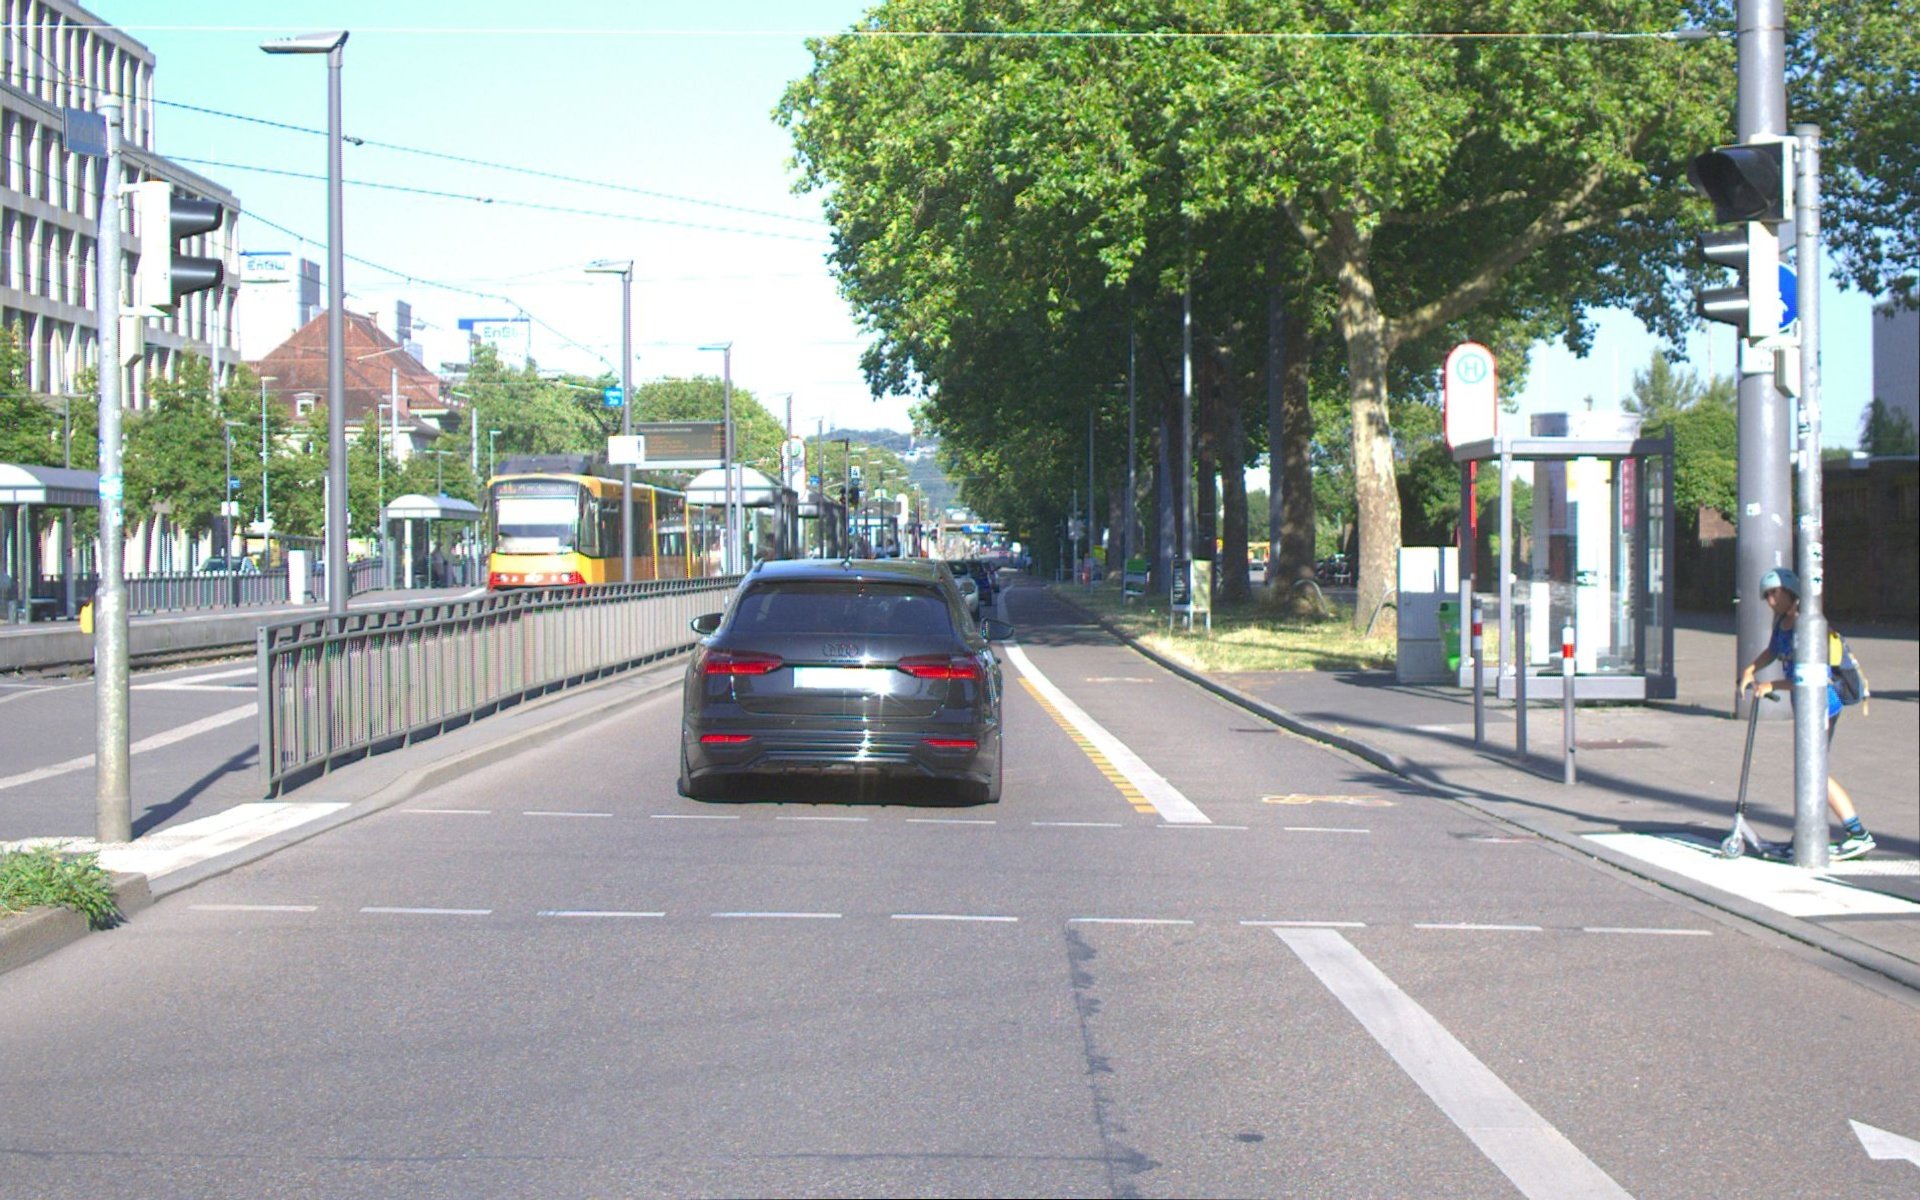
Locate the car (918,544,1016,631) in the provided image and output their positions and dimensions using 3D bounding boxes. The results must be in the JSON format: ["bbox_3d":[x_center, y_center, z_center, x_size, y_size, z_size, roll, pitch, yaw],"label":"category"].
[{"bbox_3d":[0.104,-0.264,65.478,1.762,1.614,4.000,0,1,-1],"label":"car"}]

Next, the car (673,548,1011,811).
[{"bbox_3d":[-0.698,0.417,20.823,1.878,1.452,3.357,0,1,-1],"label":"car"}]

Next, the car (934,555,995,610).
[{"bbox_3d":[0.123,-0.551,105.068,1.762,1.614,4.000,0,1,-1],"label":"car"}]

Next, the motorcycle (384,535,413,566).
[{"bbox_3d":[-18.911,-1.667,115.832,0.604,1.018,1.841,0,1,1],"label":"motorcycle"}]

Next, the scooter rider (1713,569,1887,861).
[{"bbox_3d":[4.069,0.546,16.688,0.701,1.392,0.600,0,1,1],"label":"scooter rider"}]

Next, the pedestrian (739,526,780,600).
[{"bbox_3d":[-4.132,-0.768,70.923,0.746,1.503,0.666,-1,1,3],"label":"pedestrian"}]

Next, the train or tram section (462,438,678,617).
[{"bbox_3d":[-8.927,-1.637,80.682,3.309,3.816,14.219,0,1,1],"label":"train or tram section"}]

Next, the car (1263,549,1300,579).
[{"bbox_3d":[16.400,-1.837,175.399,1.614,1.510,3.803,0,1,1],"label":"car"}]

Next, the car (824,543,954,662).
[{"bbox_3d":[-1.007,0.006,48.500,1.762,1.614,4.000,0,1,-1],"label":"car"}]

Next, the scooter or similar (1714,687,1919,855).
[{"bbox_3d":[4.243,0.837,16.886,1.021,0.808,0.265,0,1,1],"label":"scooter or similar"}]

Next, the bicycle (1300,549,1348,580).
[{"bbox_3d":[13.963,-1.360,131.999,1.773,1.116,0.439,-1,1,0],"label":"bicycle"}]

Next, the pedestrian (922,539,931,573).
[{"bbox_3d":[-1.690,-2.212,172.667,0.412,1.711,0.665,0,1,1],"label":"pedestrian"}]

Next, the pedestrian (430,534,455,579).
[{"bbox_3d":[-17.276,-1.449,114.766,0.614,1.522,0.724,0,1,9],"label":"pedestrian"}]

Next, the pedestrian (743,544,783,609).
[{"bbox_3d":[-3.868,-0.462,67.382,0.742,1.269,0.525,0,1,0],"label":"pedestrian"}]

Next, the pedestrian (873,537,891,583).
[{"bbox_3d":[-2.801,-1.439,123.200,0.611,1.663,0.613,0,1,3],"label":"pedestrian"}]

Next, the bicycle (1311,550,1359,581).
[{"bbox_3d":[13.720,-1.264,125.721,1.687,1.116,0.439,-1,1,0],"label":"bicycle"}]

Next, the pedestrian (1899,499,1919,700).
[{"bbox_3d":[8.656,-0.021,29.912,0.770,1.738,0.795,-2,1,25],"label":"pedestrian"}]

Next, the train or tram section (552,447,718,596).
[{"bbox_3d":[-8.734,-2.078,93.857,3.309,3.816,11.844,0,1,1],"label":"train or tram section"}]
